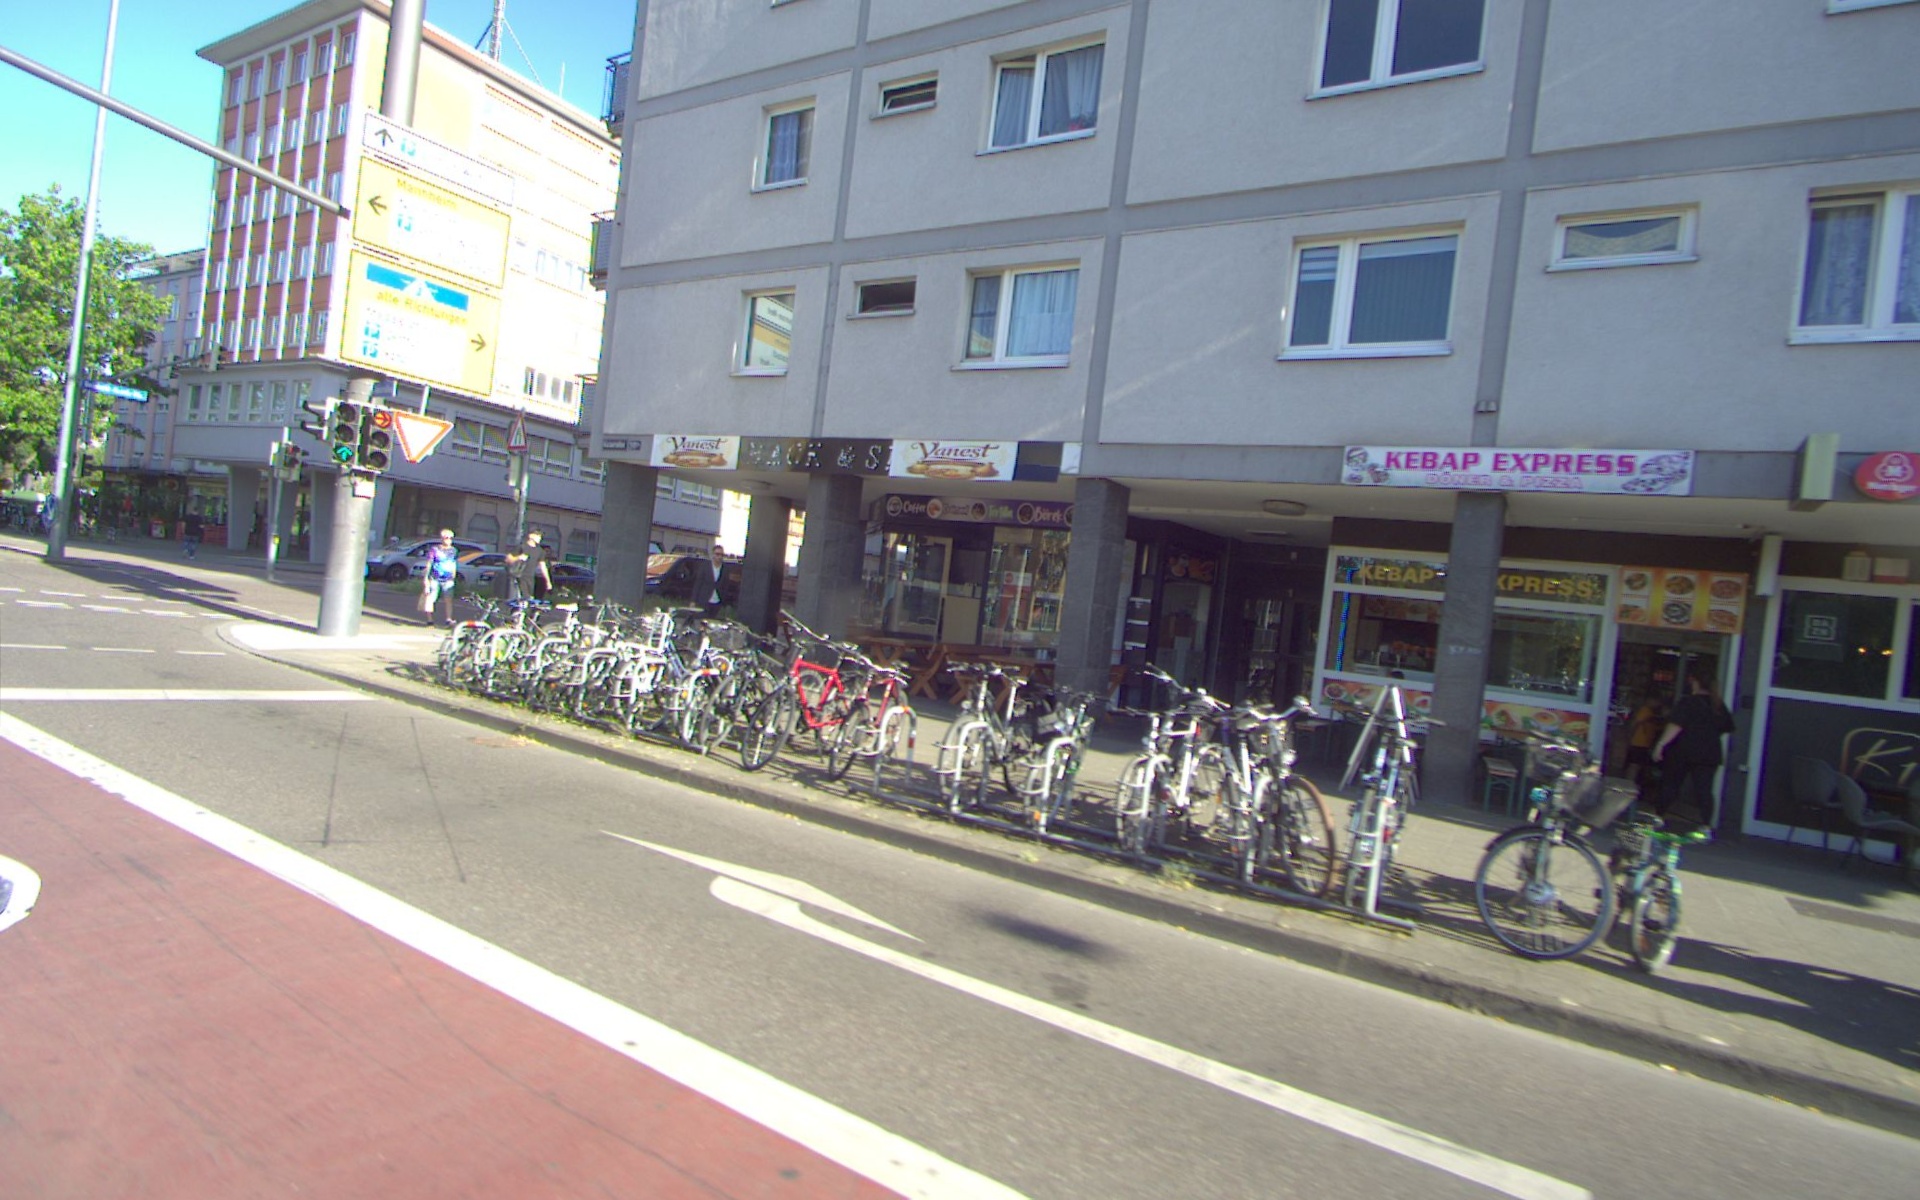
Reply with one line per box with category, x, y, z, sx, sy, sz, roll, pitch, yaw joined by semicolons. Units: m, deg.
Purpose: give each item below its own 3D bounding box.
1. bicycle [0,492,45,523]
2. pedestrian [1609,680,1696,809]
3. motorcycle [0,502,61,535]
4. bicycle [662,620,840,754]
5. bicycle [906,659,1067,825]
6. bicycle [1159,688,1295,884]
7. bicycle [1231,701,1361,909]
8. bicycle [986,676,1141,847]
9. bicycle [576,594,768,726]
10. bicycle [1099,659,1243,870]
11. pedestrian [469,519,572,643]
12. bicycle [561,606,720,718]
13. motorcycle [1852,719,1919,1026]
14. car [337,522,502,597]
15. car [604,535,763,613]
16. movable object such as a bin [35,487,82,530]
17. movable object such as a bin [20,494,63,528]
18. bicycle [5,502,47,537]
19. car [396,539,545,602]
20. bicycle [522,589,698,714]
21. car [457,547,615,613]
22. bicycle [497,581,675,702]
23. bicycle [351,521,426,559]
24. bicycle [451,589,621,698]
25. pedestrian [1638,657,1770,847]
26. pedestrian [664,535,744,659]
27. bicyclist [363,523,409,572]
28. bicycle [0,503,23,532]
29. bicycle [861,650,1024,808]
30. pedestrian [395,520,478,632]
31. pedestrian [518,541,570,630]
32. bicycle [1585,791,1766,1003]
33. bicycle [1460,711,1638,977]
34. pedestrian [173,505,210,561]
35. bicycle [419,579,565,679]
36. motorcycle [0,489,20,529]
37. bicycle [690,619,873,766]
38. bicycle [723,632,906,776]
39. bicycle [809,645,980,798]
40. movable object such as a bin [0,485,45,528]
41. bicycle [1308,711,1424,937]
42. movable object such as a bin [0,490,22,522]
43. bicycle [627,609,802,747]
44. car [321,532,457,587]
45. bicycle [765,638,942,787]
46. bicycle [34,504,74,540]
bicycle;-46.698;-4.600;49.543;2.134;1.266;0.897;7;0;-12
pedestrian;8.850;1.820;12.887;0.701;1.493;0.765;7;1;31
motorcycle;-38.190;-3.339;41.019;0.750;1.033;2.099;7;-1;33
bicycle;-1.840;0.756;9.131;0.408;1.069;1.771;7;1;30
bicycle;0.258;1.013;7.701;0.408;1.082;1.821;5;0;27
bicycle;1.847;1.166;6.773;0.408;1.073;1.822;7;-1;27
bicycle;2.251;1.256;6.603;0.408;1.074;1.821;7;0;28
bicycle;0.814;1.112;7.394;0.408;1.025;1.821;7;1;27
bicycle;-2.682;0.604;9.594;0.522;1.095;1.818;7;-2;28
bicycle;1.518;1.063;7.004;0.408;1.244;1.781;7;0;27
pedestrian;-7.230;-0.303;16.551;1.190;1.857;0.864;7;1;31
bicycle;-3.080;0.633;9.838;0.380;0.977;1.547;7;-2;29
motorcycle;5.185;1.413;4.752;0.873;1.448;1.881;7;2;27
car;-18.730;-1.363;35.112;1.915;1.871;4.597;6;-2;31
car;-10.182;-0.927;37.481;2.340;2.226;5.238;7;0;36
movable object such as a bin;-40.508;-4.113;45.190;0.929;1.730;1.257;6;0;31
movable object such as a bin;-44.699;-4.335;48.958;0.944;1.407;1.214;6;-2;33
bicycle;-35.999;-3.109;38.762;2.083;1.130;0.476;6;-1;29
car;-16.084;-0.932;33.239;1.818;1.457;3.996;6;-2;30
bicycle;-3.437;0.526;10.052;0.392;1.114;1.752;6;0;29
car;-13.507;-0.617;32.203;1.947;1.485;4.144;6;-3;42
bicycle;-3.769;0.465;10.291;0.399;1.088;1.755;7;-2;29
bicycle;-20.537;-2.146;36.189;0.846;1.012;2.147;6;-2;30
bicycle;-4.415;0.461;10.609;0.403;1.024;1.701;7;1;28
pedestrian;7.323;1.465;9.946;0.810;1.683;0.728;7;1;31
pedestrian;-4.202;-0.056;16.474;0.785;1.909;0.865;6;1;-38
bicyclist;-20.602;-1.888;36.125;0.925;1.578;0.935;6;-1;30
bicycle;-36.365;-3.181;38.157;2.083;0.996;0.476;6;-1;29
bicycle;-0.079;0.976;8.018;0.408;1.082;1.822;5;-1;27
pedestrian;-9.123;-0.411;17.544;0.860;1.799;0.790;7;1;31
pedestrian;-8.823;-0.308;21.342;0.653;1.795;0.567;7;1;34
bicycle;3.967;1.600;5.671;0.561;0.775;1.346;7;1;27
bicycle;3.475;1.344;6.074;0.691;1.189;1.821;7;0;27
pedestrian;-27.264;-2.368;35.694;0.822;1.866;0.883;8;-1;-36
bicycle;-5.218;0.346;11.291;0.404;1.024;1.429;6;1;33
motorcycle;-39.973;-3.847;41.836;2.507;1.558;0.802;7;-1;39
bicycle;-1.511;0.786;8.866;0.398;1.128;1.819;7;1;31
bicycle;-1.191;0.852;8.630;0.408;1.074;1.819;7;1;31
bicycle;-0.472;0.933;8.197;0.408;1.074;1.821;6;0;28
movable object such as a bin;-41.278;-4.108;44.097;0.991;1.659;1.382;6;-1;31
bicycle;2.573;1.297;6.276;0.408;1.074;1.821;7;0;27
movable object such as a bin;-45.426;-4.508;47.658;0.912;1.371;1.174;6;-2;33
bicycle;-2.233;0.681;9.343;0.522;1.126;1.639;7;2;29
car;-22.121;-1.538;39.120;1.814;1.519;4.160;5;-3;30
bicycle;-0.830;0.889;8.404;0.408;1.074;1.820;7;1;29
bicycle;-35.900;-3.092;39.846;1.816;1.258;0.533;6;-1;31
